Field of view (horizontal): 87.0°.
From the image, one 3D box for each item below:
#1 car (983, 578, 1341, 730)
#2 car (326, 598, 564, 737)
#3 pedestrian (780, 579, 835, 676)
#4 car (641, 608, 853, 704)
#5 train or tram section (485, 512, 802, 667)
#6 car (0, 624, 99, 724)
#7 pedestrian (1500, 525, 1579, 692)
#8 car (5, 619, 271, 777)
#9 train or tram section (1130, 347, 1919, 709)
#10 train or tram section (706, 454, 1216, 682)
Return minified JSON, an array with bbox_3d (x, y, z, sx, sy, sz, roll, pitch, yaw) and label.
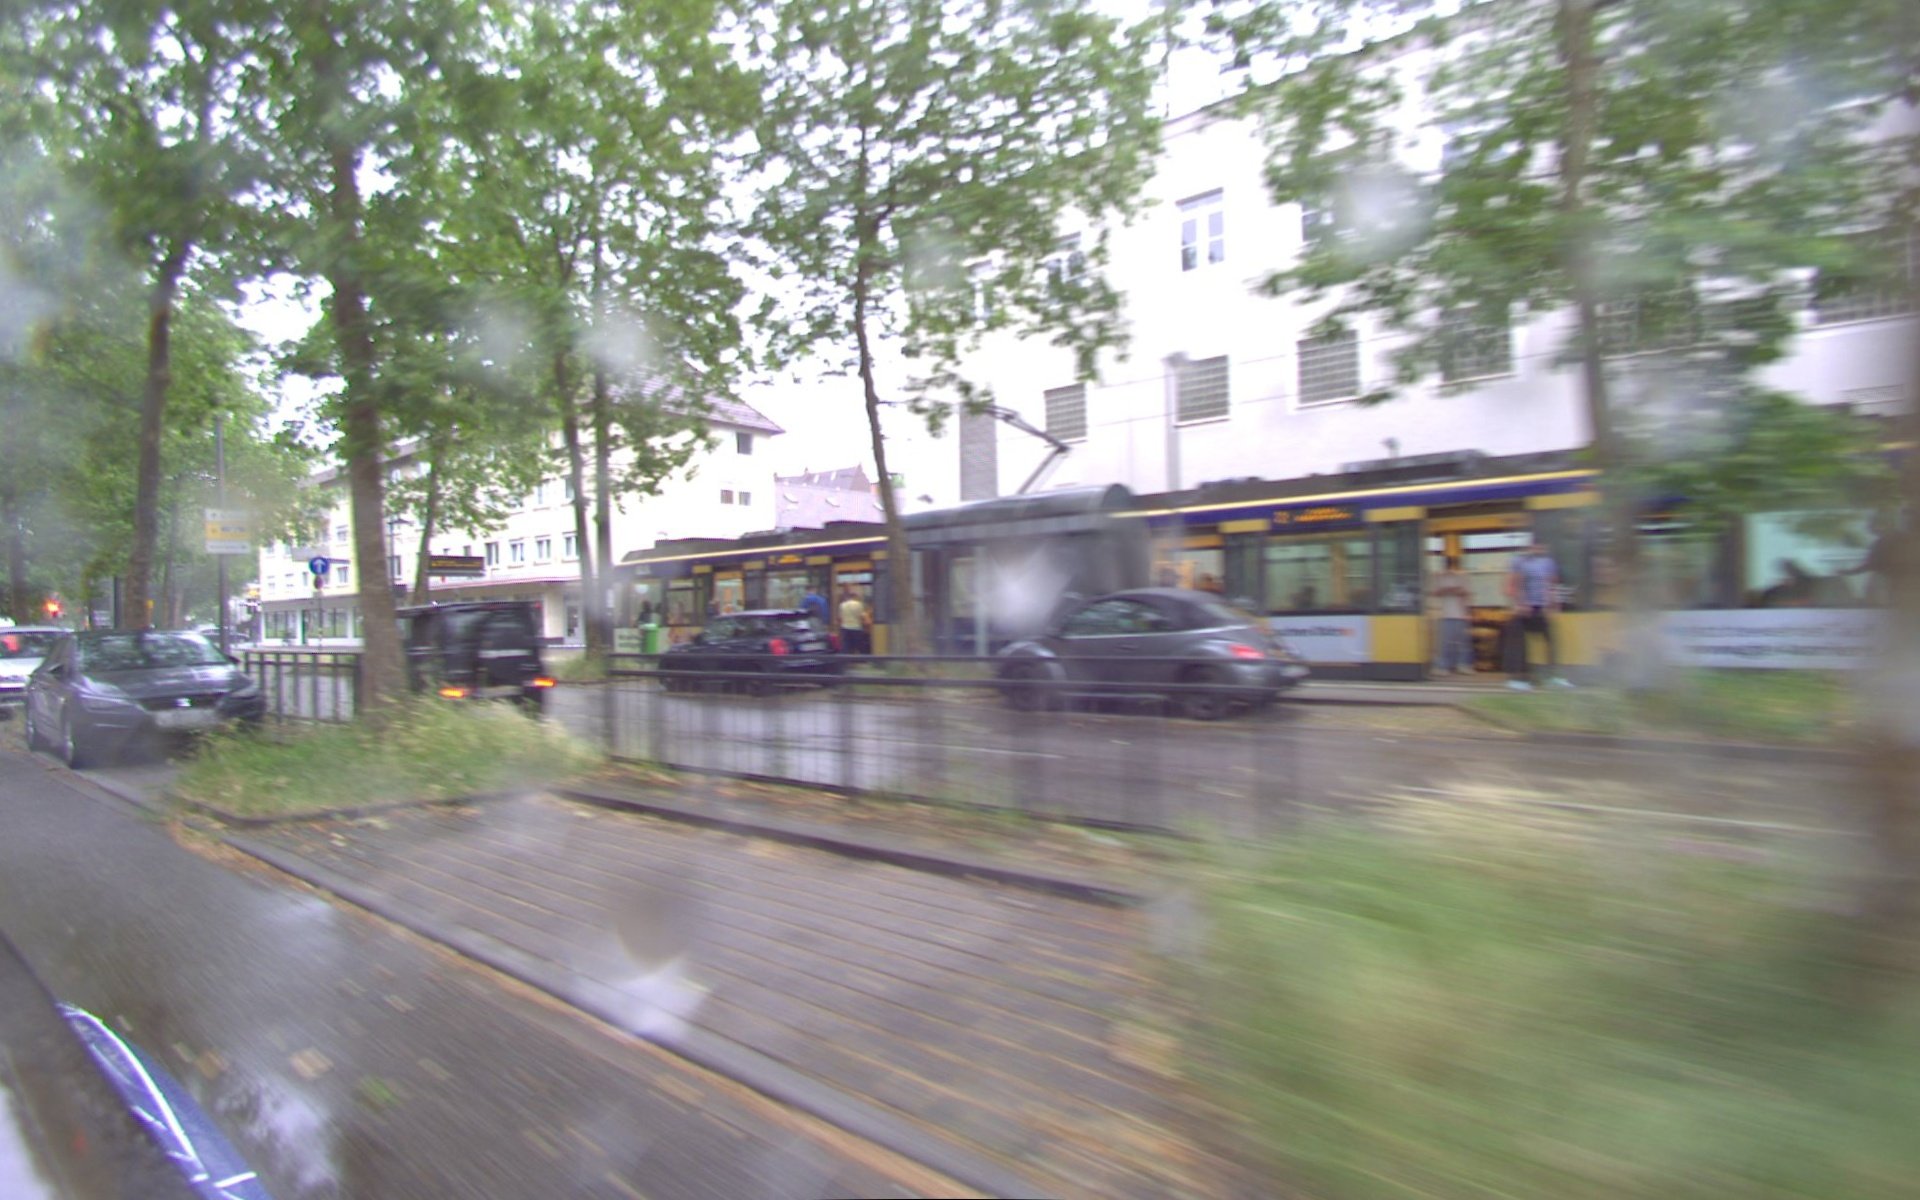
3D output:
[{"bbox_3d":[2.388,0.621,12.520,3.971,1.520,1.656,-2,2,40],"label":"car"},{"bbox_3d":[-7.257,0.878,14.139,3.646,1.675,1.655,-2,-1,40],"label":"car"},{"bbox_3d":[-2.939,0.522,19.415,0.946,1.797,0.819,-1,-1,-12],"label":"pedestrian"},{"bbox_3d":[-3.804,0.948,17.833,3.702,1.395,1.656,-2,2,40],"label":"car"},{"bbox_3d":[-9.415,-0.139,28.747,11.544,3.669,2.870,-2,0,41],"label":"train or tram section"},{"bbox_3d":[-16.501,1.268,17.808,3.325,1.588,1.552,-3,-1,41],"label":"car"},{"bbox_3d":[6.780,0.100,11.831,0.635,1.869,0.654,-2,-1,41],"label":"pedestrian"},{"bbox_3d":[-9.647,1.024,11.772,4.003,1.493,1.710,-3,-1,41],"label":"car"},{"bbox_3d":[8.082,-0.673,13.622,11.544,3.669,2.870,-2,0,41],"label":"train or tram section"},{"bbox_3d":[-0.658,-0.406,21.191,11.544,3.669,2.870,-2,0,41],"label":"train or tram section"}]
